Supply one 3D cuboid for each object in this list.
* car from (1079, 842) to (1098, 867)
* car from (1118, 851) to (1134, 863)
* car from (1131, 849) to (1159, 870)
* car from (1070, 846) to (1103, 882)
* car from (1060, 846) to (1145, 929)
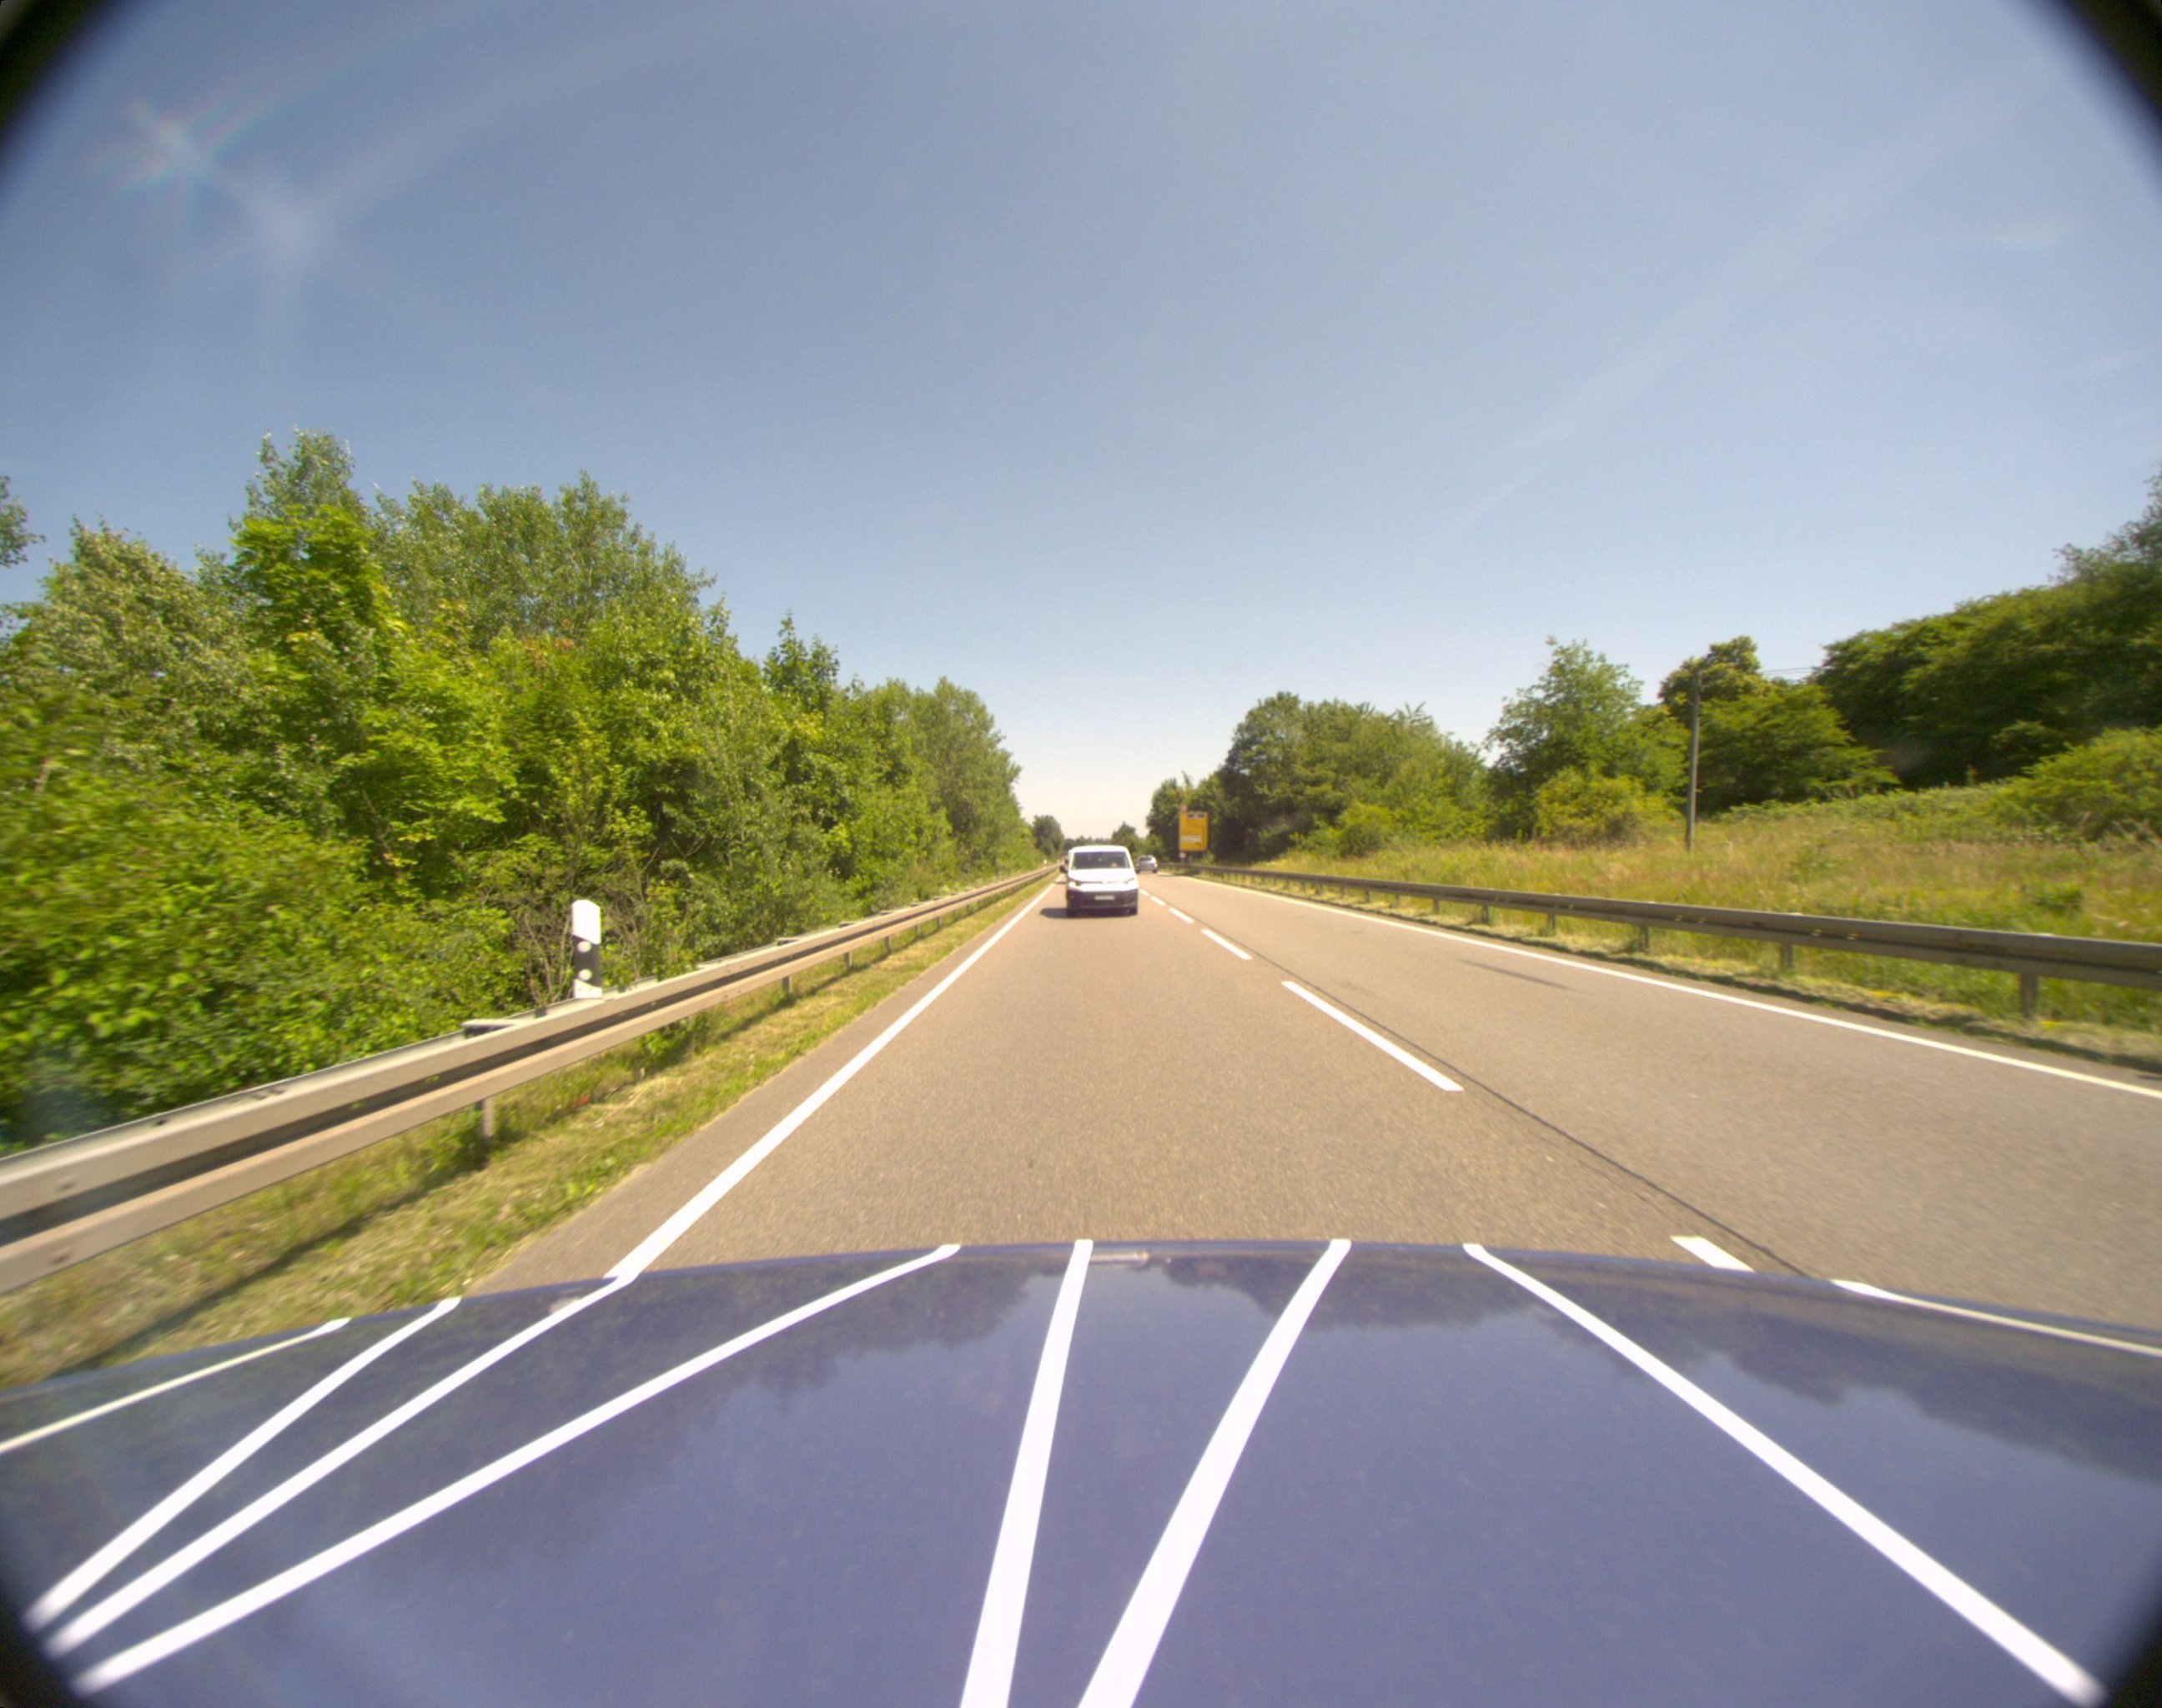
[{"bbox_3d":[0.746,0.049,73.727,1.782,2.287,4.105,-2,1,1],"label":"car"},{"bbox_3d":[6.310,0.371,107.790,1.998,1.622,3.999,-2,1,0],"label":"car"},{"bbox_3d":[5.276,0.437,63.250,1.998,1.622,3.999,-2,1,0],"label":"car"},{"bbox_3d":[0.357,0.558,44.611,1.782,1.960,4.105,-2,1,1],"label":"car"},{"bbox_3d":[0.510,0.705,18.781,1.782,1.743,4.512,-2,1,1],"label":"car"}]
